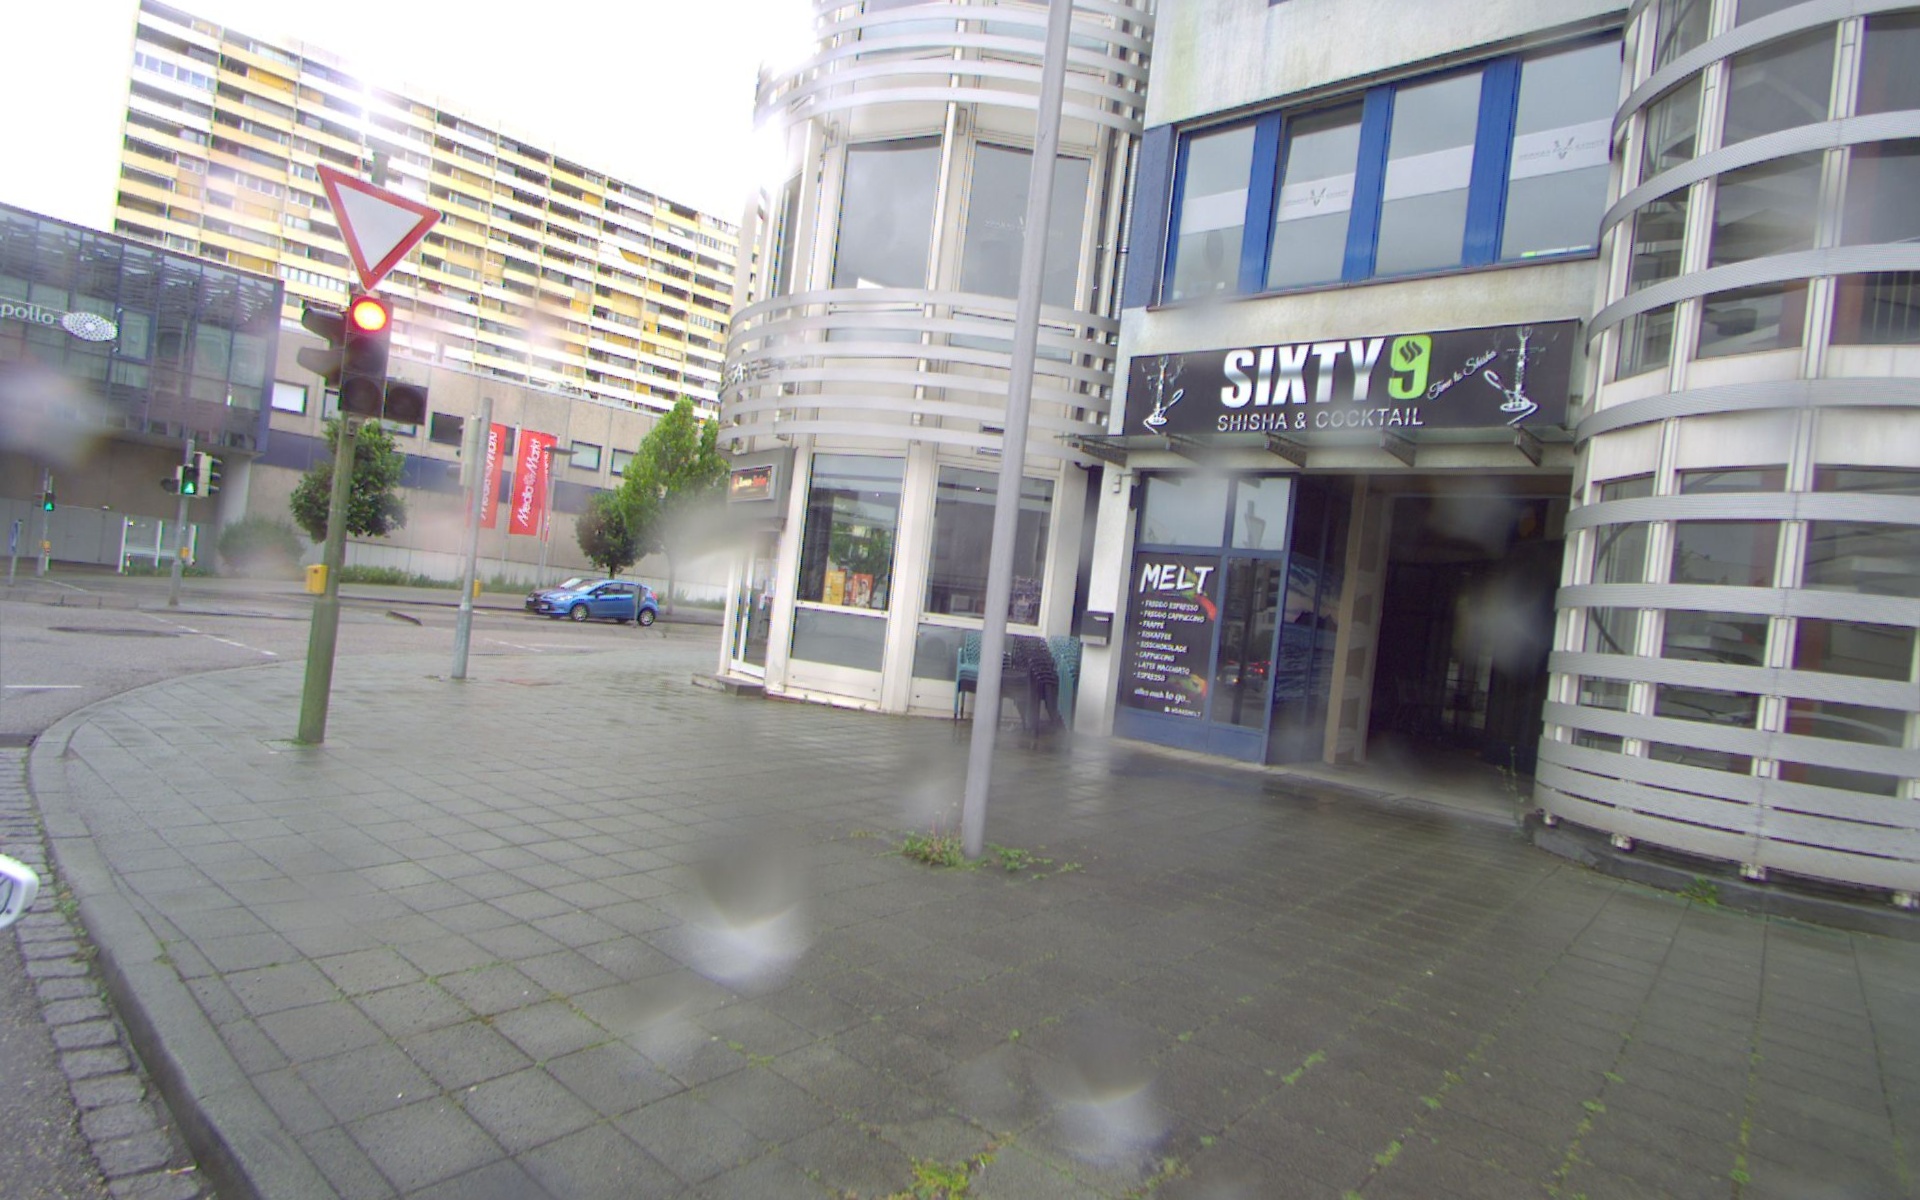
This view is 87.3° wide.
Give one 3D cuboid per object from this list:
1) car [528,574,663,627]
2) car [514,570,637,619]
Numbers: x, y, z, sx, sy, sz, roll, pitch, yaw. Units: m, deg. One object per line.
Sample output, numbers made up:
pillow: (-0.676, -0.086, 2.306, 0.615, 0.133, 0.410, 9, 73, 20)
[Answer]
car: (-12.049, 0.029, 33.447, 1.655, 1.415, 3.837, 5, 0, 40)
car: (-13.752, -0.168, 36.076, 1.720, 1.412, 3.677, 5, 0, 41)
